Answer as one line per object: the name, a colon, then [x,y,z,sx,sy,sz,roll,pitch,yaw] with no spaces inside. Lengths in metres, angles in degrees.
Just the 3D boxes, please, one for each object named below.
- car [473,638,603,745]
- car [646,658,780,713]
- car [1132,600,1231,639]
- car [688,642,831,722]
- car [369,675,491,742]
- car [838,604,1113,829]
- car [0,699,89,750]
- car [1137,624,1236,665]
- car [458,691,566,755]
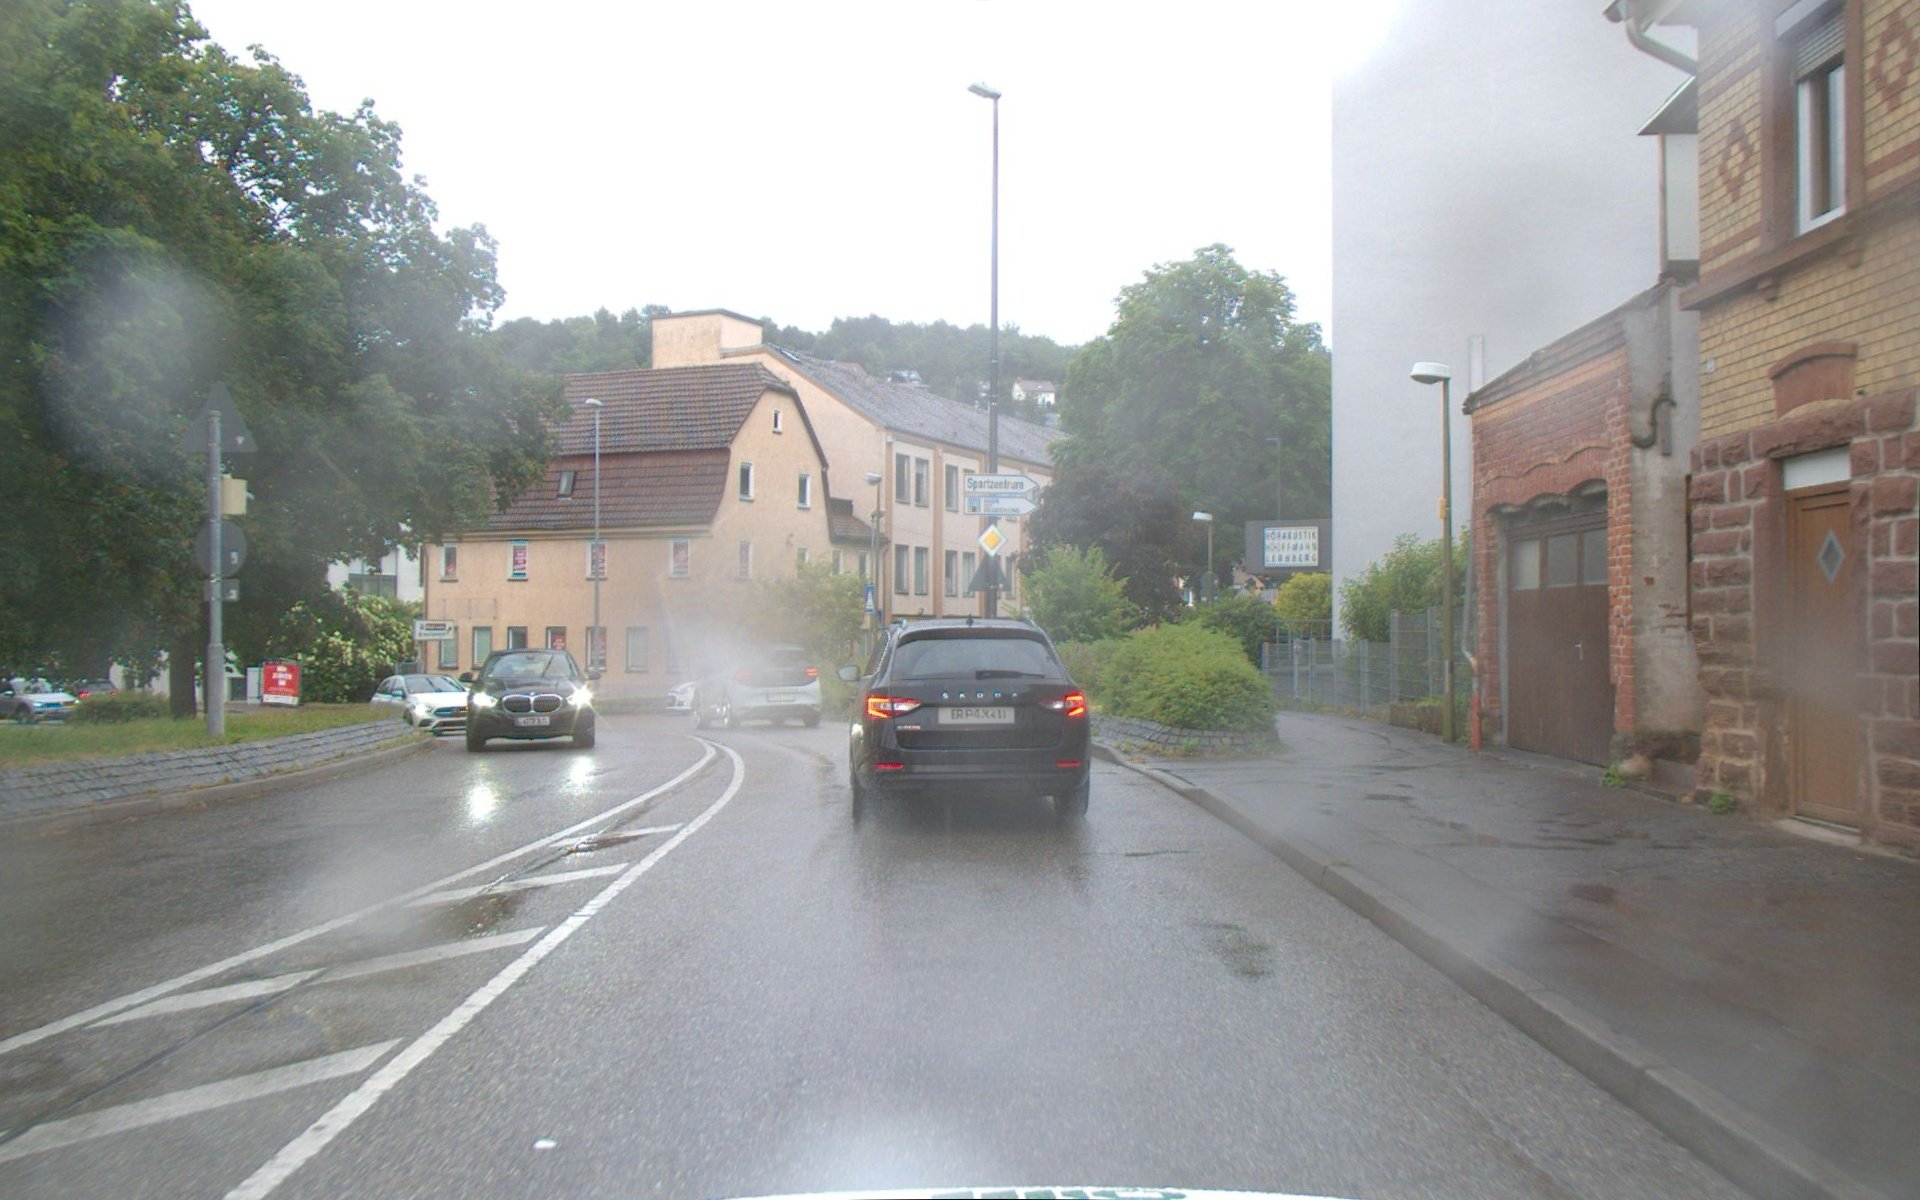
car: [-6.336,1.396,24.556,1.708,1.436,4.034,0,-4,-17]
car: [-7.591,2.613,50.890,3.708,1.478,1.696,-2,-2,-28]
car: [10.028,0.894,74.797,4.310,1.600,1.720,-2,-1,10]
car: [-3.846,1.493,31.182,1.792,1.383,3.964,0,-2,-21]
car: [-13.266,2.695,41.260,1.709,1.531,4.204,0,-3,-35]
car: [-0.042,0.822,13.417,1.748,1.509,4.240,0,-1,-6]
car: [-32.372,4.318,57.737,3.609,1.618,1.895,-2,-1,31]
car: [9.615,1.880,70.306,3.814,1.600,1.718,-2,-2,24]
car: [-12.506,3.402,46.021,1.712,1.618,4.136,4,-4,-33]
